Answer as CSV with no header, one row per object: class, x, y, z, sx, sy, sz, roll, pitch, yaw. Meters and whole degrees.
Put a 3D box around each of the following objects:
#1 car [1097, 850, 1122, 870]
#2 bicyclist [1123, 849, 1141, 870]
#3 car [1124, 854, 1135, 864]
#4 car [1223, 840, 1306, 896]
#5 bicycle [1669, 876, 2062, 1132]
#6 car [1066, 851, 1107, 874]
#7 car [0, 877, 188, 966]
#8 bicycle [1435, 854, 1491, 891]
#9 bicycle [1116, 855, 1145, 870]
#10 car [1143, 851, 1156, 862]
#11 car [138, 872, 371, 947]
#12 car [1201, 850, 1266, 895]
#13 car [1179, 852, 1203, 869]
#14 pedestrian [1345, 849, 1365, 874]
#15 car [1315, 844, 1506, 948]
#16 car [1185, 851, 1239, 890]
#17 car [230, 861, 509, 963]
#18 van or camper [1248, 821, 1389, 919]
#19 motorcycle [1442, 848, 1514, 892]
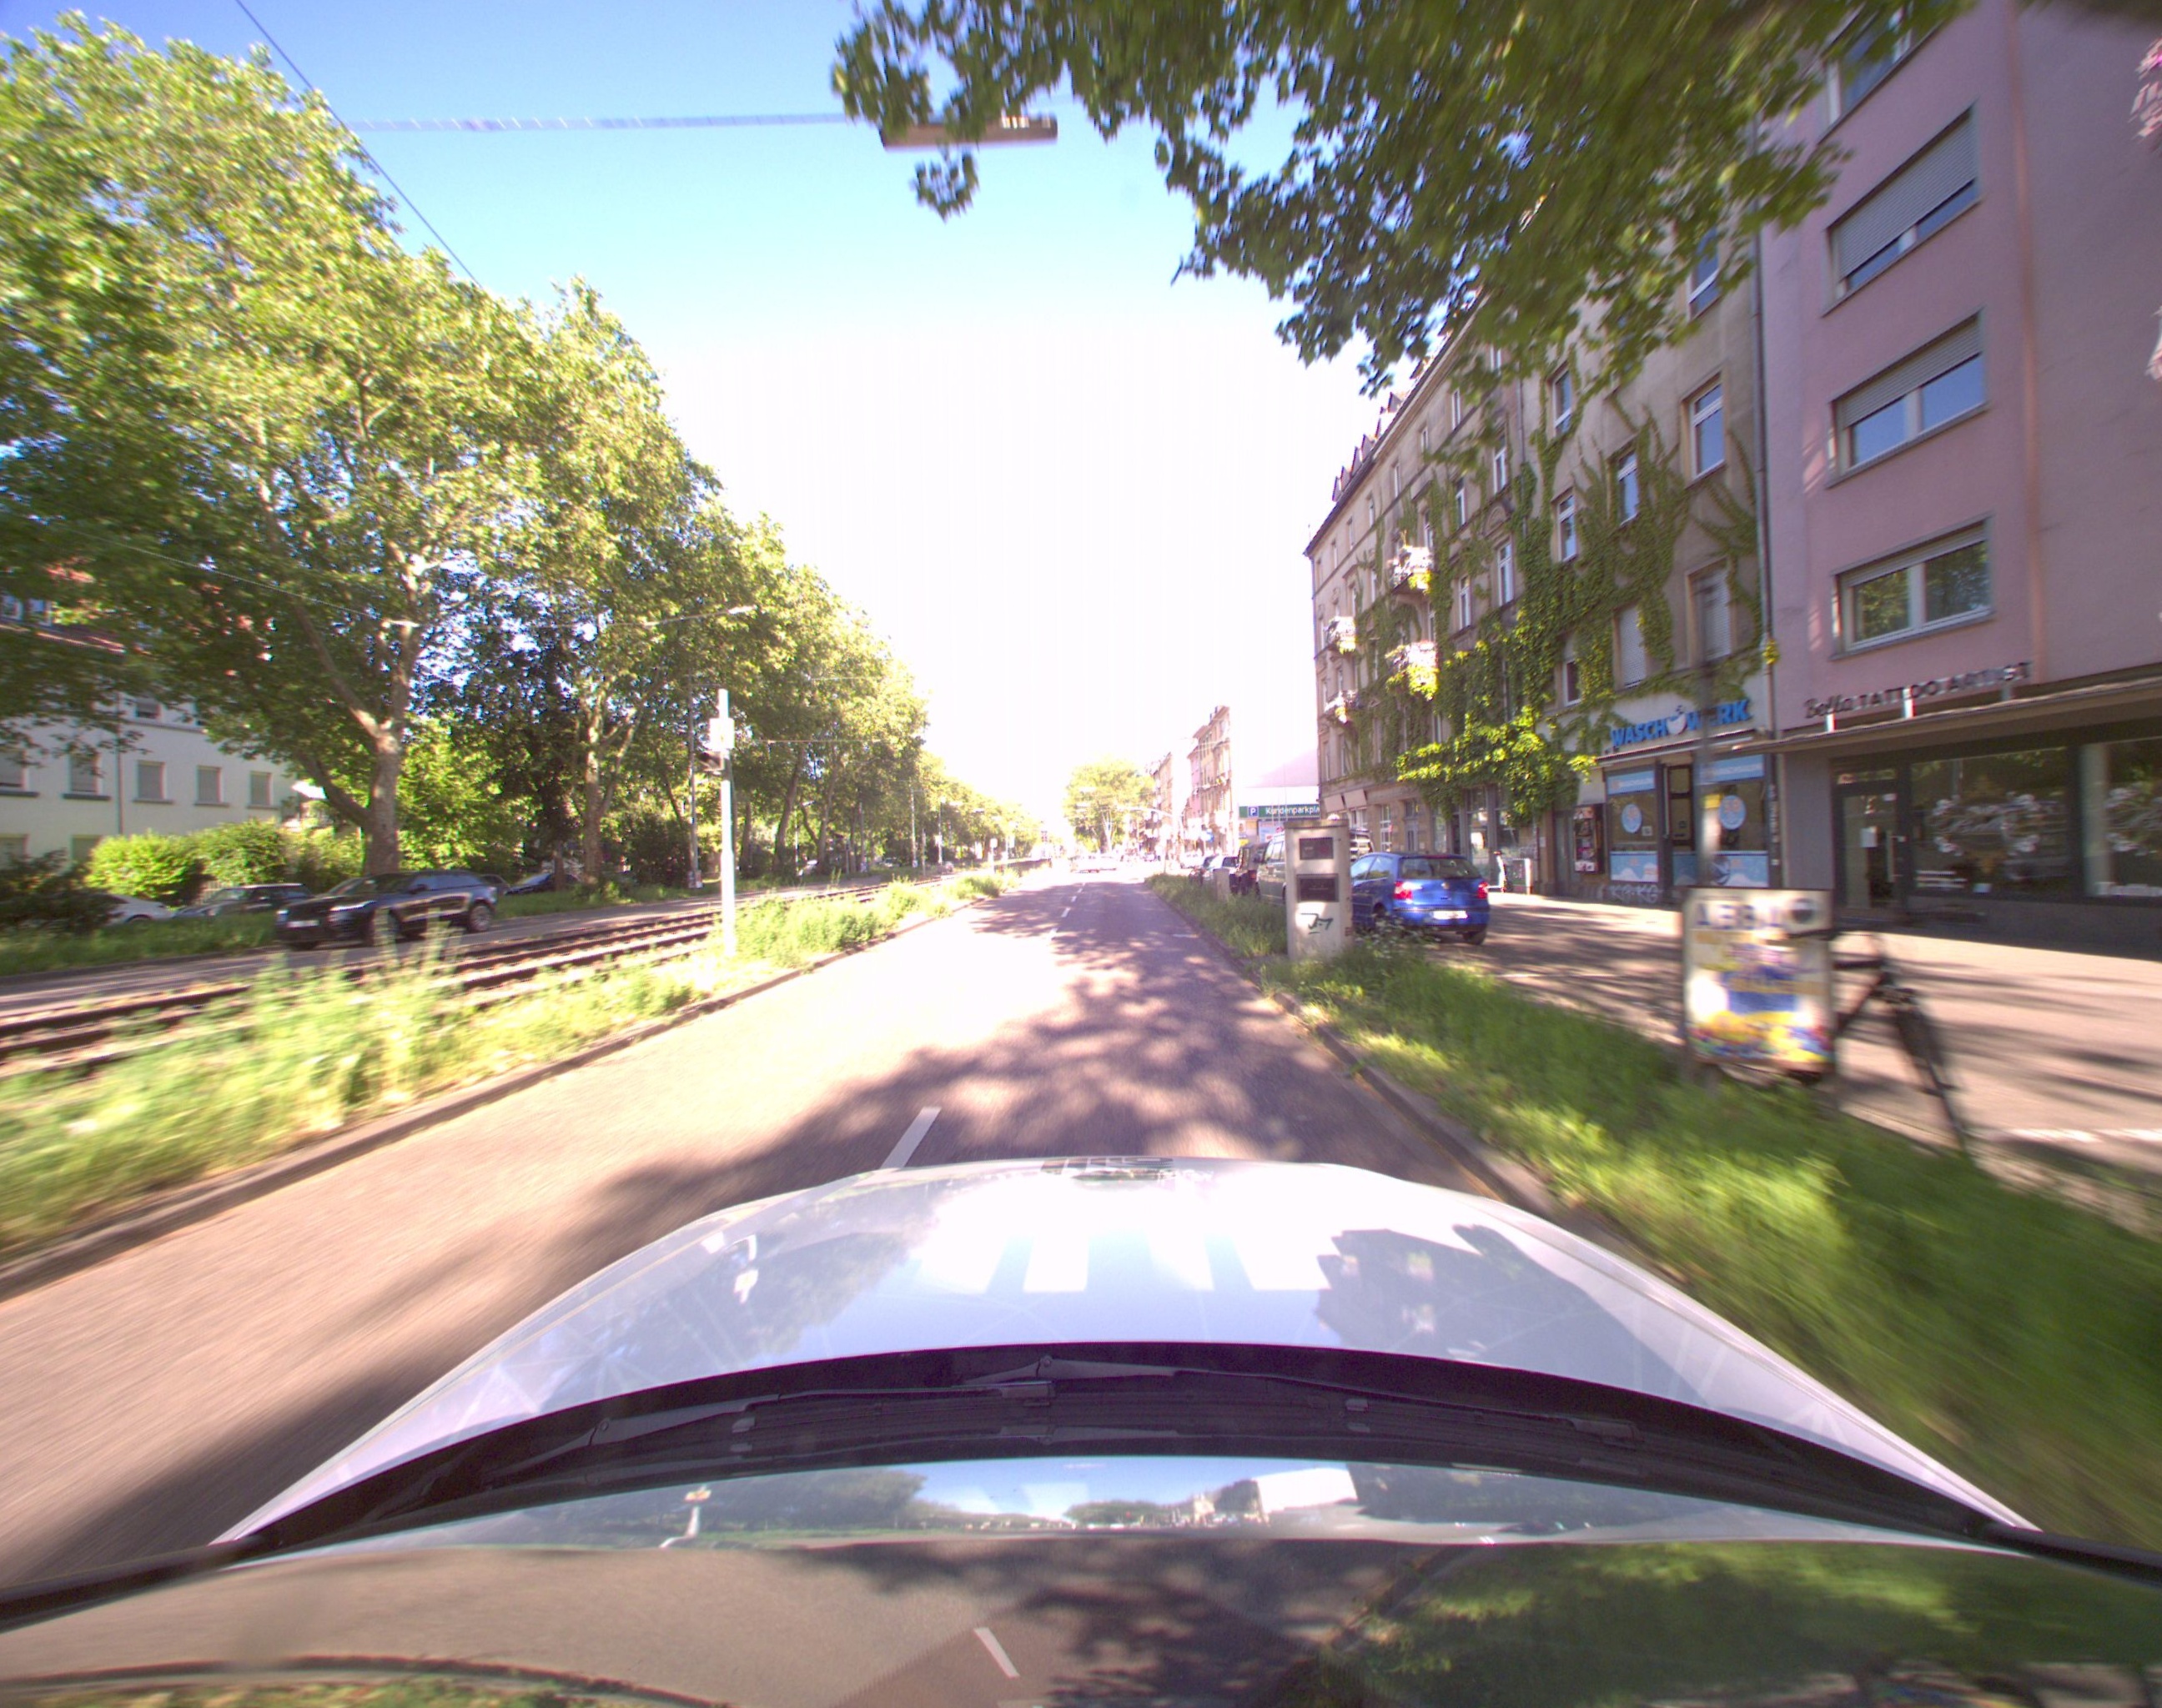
car,2.469,0.519,71.598,2.015,1.662,3.999,-1,0,0
bicyclist,4.750,0.485,75.904,1.311,1.882,0.987,-2,0,27
car,7.292,0.702,122.568,1.676,1.509,3.669,-1,0,2
car,5.443,0.396,24.536,1.677,1.509,3.667,-2,0,0
bicycle,3.740,0.635,4.066,0.586,0.990,1.451,-2,0,3
car,0.385,0.618,61.275,2.026,1.662,3.978,-1,0,-16
car,-27.146,1.727,21.431,1.986,2.013,4.685,-2,0,1
bicycle,12.518,0.577,26.767,0.882,1.134,2.402,-2,0,5
bicycle,4.608,0.818,75.976,2.499,1.314,0.995,-2,0,27
car,10.176,0.359,121.749,1.677,1.509,3.667,-1,0,0
car,-26.860,1.698,26.837,2.145,2.013,5.270,-2,0,1
car,5.464,0.643,29.602,1.677,1.509,3.667,-1,0,0
car,9.989,0.578,74.038,1.677,1.509,3.667,-1,0,0
pedestrian,12.982,0.362,38.595,0.704,1.151,0.740,-2,-1,2
car,5.401,0.623,13.858,1.678,1.514,3.665,-1,0,-2
car,5.417,0.655,34.039,1.677,1.509,3.667,-1,0,0
car,-16.124,1.199,18.920,1.986,1.870,4.874,-3,0,2
van or camper,5.335,0.333,19.085,1.833,1.963,5.126,-1,0,0
motorcycle,12.103,0.468,24.868,0.562,1.268,1.872,1,-1,-43
